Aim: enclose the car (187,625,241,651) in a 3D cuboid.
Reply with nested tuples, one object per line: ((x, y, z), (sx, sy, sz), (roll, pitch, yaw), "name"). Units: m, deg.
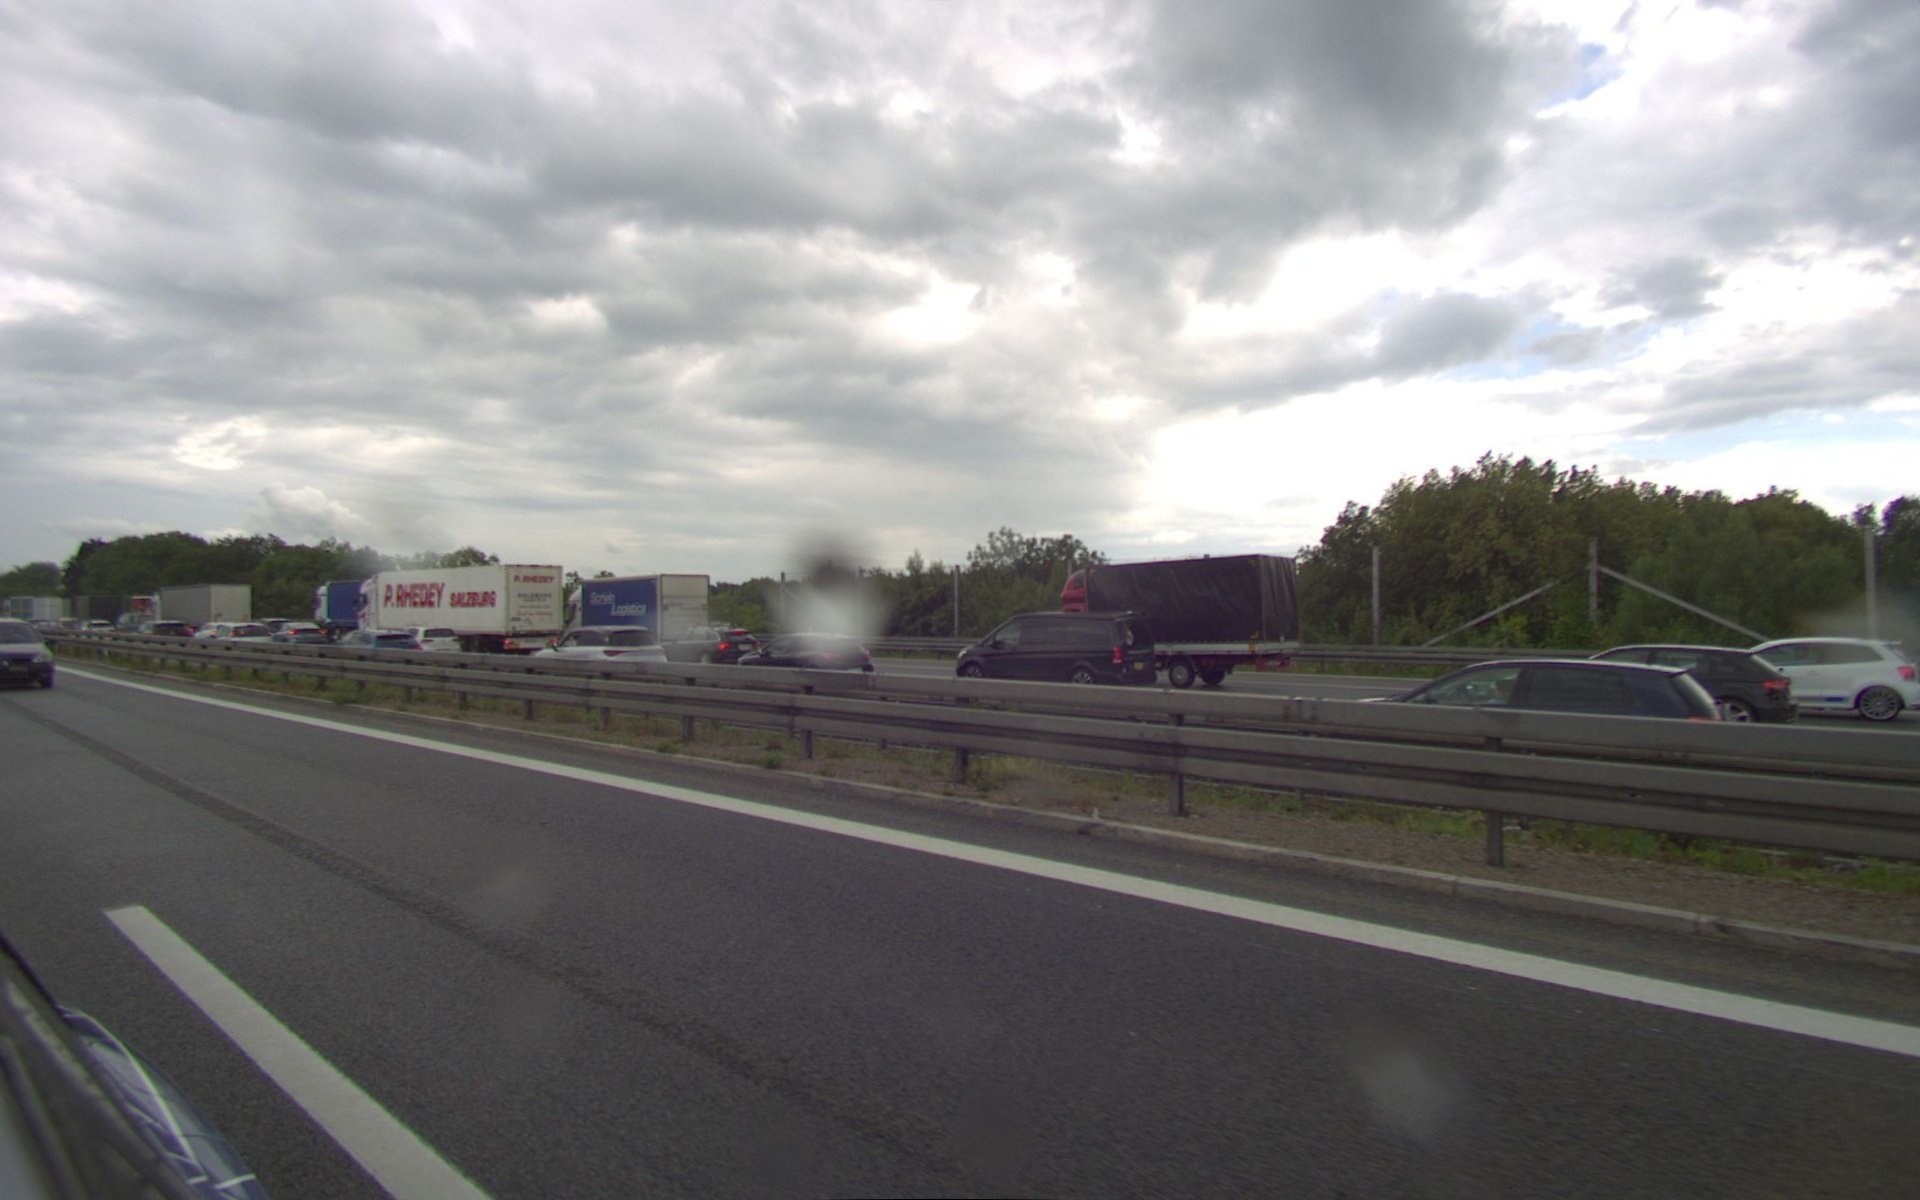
((-44.925, 2.253, 60.917), (4.857, 1.522, 1.628), (-2, -2, 41), "car")

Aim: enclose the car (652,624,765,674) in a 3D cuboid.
((-8.467, 1.608, 33.869), (4.103, 1.576, 1.628), (-2, -2, 41), "car")

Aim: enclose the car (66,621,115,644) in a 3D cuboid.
((-55.193, 2.045, 64.197), (4.623, 1.364, 1.702), (-1, -2, 41), "car")

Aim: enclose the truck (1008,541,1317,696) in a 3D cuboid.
((5.090, 0.523, 26.695), (7.801, 3.564, 2.438), (-2, -2, 40), "truck")

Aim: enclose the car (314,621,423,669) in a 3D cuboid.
((-19.130, 1.406, 32.668), (4.727, 1.451, 1.628), (-1, -2, 41), "car")

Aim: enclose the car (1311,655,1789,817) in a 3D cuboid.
((6.129, 1.293, 10.812), (4.184, 1.299, 1.686), (-2, -2, 40), "car")

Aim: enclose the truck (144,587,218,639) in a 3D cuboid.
((-61.581, 1.018, 79.929), (7.569, 3.963, 3.166), (-1, -1, 41), "truck")

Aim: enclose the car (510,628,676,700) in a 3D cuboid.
((-9.330, 1.536, 25.526), (4.718, 1.660, 1.853), (-2, -2, 40), "car")

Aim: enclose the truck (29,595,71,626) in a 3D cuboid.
((-123.491, 1.488, 137.256), (11.686, 4.012, 2.692), (-1, -2, 41), "truck")

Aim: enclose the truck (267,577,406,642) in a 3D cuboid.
((-42.867, 0.790, 69.070), (17.732, 4.052, 2.621), (-2, -2, 40), "truck")

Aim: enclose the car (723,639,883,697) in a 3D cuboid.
((-4.023, 1.661, 25.575), (4.184, 1.299, 1.686), (-2, -2, 40), "car")

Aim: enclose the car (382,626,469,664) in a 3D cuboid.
((-21.855, 1.795, 41.306), (4.541, 1.418, 1.628), (-1, -2, 41), "car")

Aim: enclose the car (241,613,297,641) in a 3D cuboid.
((-44.812, 1.779, 65.593), (4.572, 1.761, 1.947), (-2, -2, 41), "car")

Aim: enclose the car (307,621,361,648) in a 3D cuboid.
((-36.890, 2.024, 59.622), (3.998, 1.557, 1.628), (-2, -2, 41), "car")

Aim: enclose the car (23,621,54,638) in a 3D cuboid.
((-92.355, 2.940, 101.397), (5.101, 1.741, 1.702), (-1, -2, 41), "car")

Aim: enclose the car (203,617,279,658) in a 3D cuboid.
((-30.556, 1.553, 42.977), (3.998, 1.631, 1.773), (-1, -2, 41), "car")

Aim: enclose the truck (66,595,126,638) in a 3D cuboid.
((-72.113, 1.405, 84.438), (8.535, 3.425, 2.493), (-1, -2, 41), "truck")

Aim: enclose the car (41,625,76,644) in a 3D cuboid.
((-81.921, 3.118, 91.947), (5.052, 1.713, 1.702), (-1, -2, 41), "car")

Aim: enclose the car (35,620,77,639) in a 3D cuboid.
((-65.886, 2.156, 73.750), (4.532, 1.364, 1.702), (-1, -2, 41), "car")

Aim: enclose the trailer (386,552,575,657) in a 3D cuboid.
((-22.052, 0.331, 46.011), (11.947, 4.226, 3.154), (-2, -2, 40), "trailer")

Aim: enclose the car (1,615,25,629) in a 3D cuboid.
((-128.597, 2.940, 137.442), (3.999, 1.844, 1.972), (-1, -1, 42), "car")

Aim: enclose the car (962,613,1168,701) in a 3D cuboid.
((2.382, 1.291, 23.977), (4.817, 1.905, 1.567), (-2, -2, 40), "car")

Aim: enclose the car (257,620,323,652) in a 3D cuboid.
((-34.135, 1.799, 51.486), (4.674, 1.514, 1.628), (-1, -2, 41), "car")

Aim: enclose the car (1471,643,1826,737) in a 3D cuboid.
((11.025, 1.366, 16.460), (4.599, 1.292, 1.567), (-2, -2, 40), "car")

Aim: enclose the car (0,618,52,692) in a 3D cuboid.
((-20.365, 1.106, 21.131), (5.018, 1.418, 1.757), (-2, -1, 44), "car")

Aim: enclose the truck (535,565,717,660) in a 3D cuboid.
((-15.421, 0.647, 46.070), (10.751, 3.869, 2.868), (-2, -2, 41), "truck")

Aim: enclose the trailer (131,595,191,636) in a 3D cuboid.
((-81.618, 1.608, 103.294), (8.845, 3.989, 3.186), (-1, -1, 41), "trailer")

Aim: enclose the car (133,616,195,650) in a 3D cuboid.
((-40.885, 1.665, 51.954), (4.281, 1.631, 1.773), (-1, -2, 41), "car")

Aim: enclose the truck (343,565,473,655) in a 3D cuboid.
((-27.797, 0.573, 50.837), (7.731, 4.226, 3.145), (-2, -2, 40), "truck")

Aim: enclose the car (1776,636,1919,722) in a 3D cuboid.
((16.770, 1.349, 17.573), (4.000, 1.437, 1.567), (-2, -2, 40), "car")

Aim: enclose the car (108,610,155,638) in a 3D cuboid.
((-62.540, 1.799, 76.355), (5.671, 2.068, 1.802), (-1, -2, 41), "car")

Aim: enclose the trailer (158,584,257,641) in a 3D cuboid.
((-56.124, 0.932, 75.261), (13.008, 3.963, 3.210), (-1, -1, 41), "trailer")

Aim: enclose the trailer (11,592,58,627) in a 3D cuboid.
((-111.600, 1.163, 121.948), (11.594, 4.092, 2.789), (-1, -1, 41), "trailer")
